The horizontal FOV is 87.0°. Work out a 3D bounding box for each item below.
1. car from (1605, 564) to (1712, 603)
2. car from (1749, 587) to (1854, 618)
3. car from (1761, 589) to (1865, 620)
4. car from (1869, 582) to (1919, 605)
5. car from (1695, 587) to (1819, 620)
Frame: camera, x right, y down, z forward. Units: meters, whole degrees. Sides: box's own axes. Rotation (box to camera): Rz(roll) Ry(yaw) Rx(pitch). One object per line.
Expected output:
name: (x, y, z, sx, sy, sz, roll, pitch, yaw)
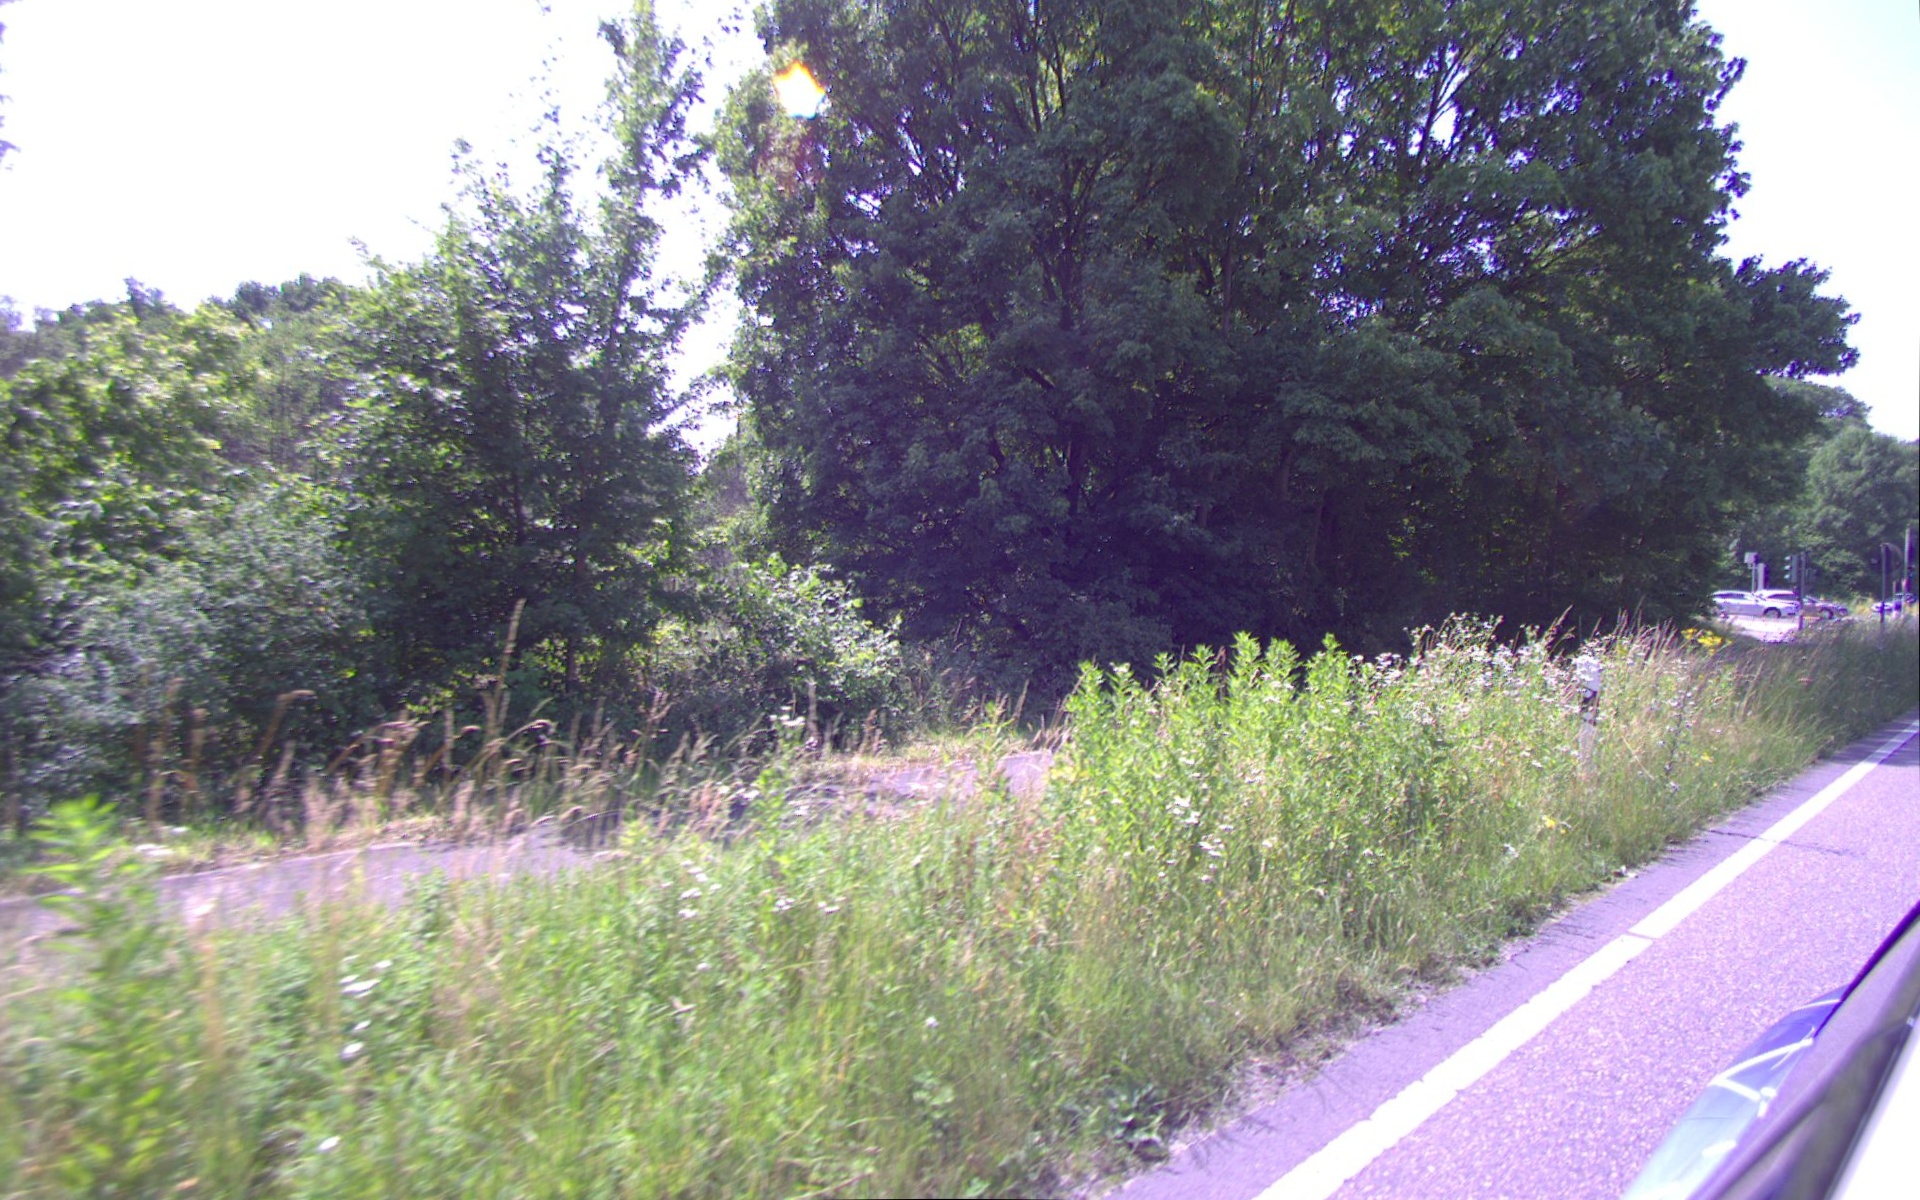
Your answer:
car: (49.111, -1.197, 71.361, 6.009, 2.678, 1.955, 1, 0, 31)
car: (49.082, 0.135, 59.060, 1.965, 1.554, 4.428, 0, 3, -41)
car: (46.925, 0.201, 55.721, 1.961, 1.464, 4.099, 0, 3, -42)
car: (63.812, -0.402, 67.847, 4.146, 1.478, 1.799, 1, 1, -3)
car: (43.112, 0.136, 54.816, 1.984, 1.517, 4.945, -1, 3, -39)
